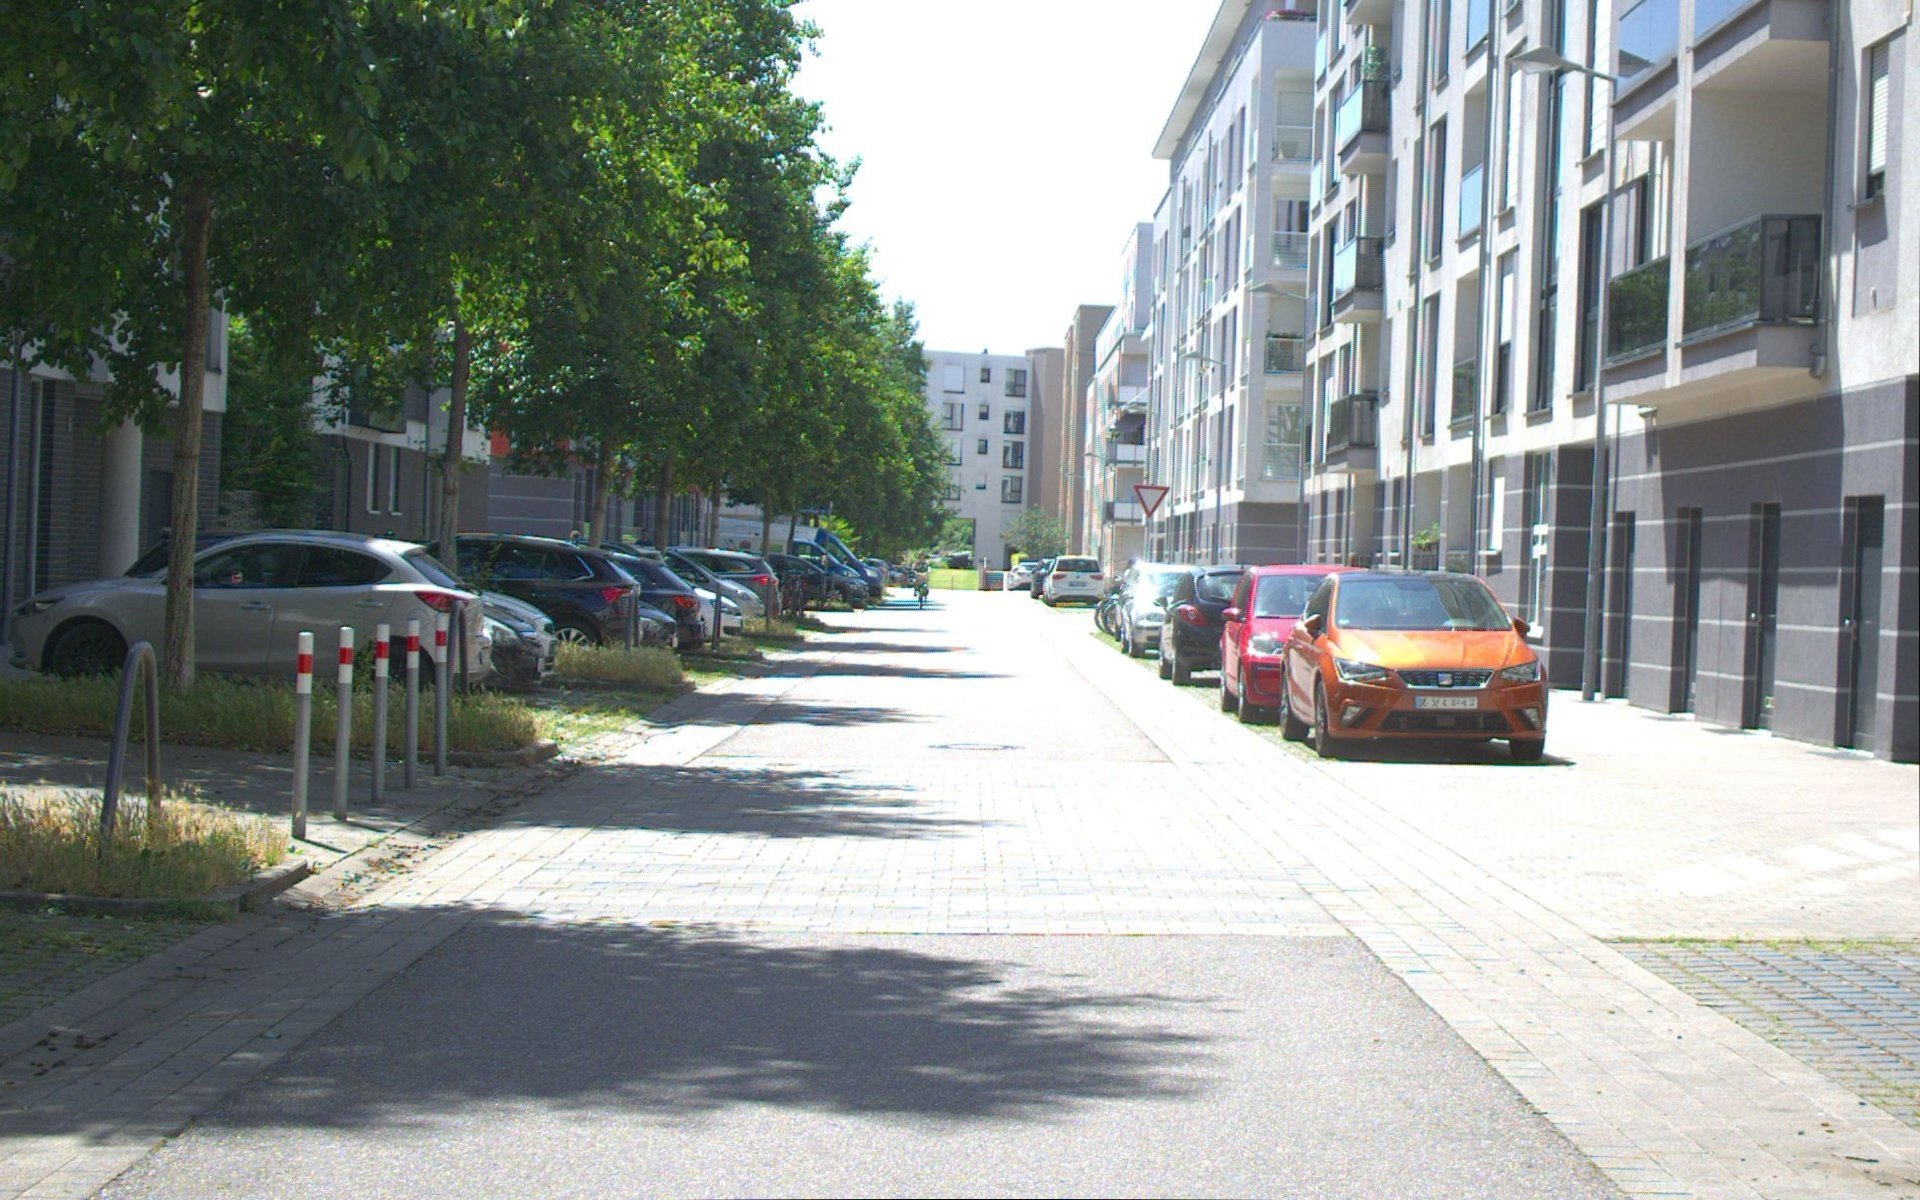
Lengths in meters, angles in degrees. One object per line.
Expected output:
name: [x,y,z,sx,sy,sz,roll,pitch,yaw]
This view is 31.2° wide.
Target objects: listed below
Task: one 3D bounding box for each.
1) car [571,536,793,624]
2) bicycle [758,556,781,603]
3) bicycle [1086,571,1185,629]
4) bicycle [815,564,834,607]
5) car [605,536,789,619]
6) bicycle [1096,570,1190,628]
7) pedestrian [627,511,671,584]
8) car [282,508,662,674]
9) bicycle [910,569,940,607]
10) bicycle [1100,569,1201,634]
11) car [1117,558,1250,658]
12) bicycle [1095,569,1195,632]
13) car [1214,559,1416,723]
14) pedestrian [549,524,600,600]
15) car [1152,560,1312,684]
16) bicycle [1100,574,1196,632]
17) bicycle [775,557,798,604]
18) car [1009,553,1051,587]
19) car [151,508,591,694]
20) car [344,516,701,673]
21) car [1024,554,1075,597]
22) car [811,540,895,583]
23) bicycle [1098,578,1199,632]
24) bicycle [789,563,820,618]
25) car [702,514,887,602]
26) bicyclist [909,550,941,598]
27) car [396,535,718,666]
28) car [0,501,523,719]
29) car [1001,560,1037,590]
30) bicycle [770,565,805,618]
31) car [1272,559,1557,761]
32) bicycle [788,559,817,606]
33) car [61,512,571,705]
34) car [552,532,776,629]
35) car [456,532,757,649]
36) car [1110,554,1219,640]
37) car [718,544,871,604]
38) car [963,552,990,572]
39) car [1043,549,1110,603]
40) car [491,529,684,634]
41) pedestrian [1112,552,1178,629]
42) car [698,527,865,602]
car: [-5.391,-0.372,67.043,4.180,1.481,1.959,3,-1,-3]
bicycle: [-5.157,-0.552,93.223,0.518,1.200,1.752,3,2,-2]
bicycle: [3.544,0.003,69.438,1.924,1.129,0.609,1,0,10]
bicycle: [-3.671,-0.407,93.168,0.466,1.138,1.926,2,1,-2]
car: [-5.477,-0.475,71.962,3.630,1.515,1.832,3,1,0]
bicycle: [3.677,-0.016,69.070,1.833,1.144,0.461,1,1,-18]
pedestrian: [-8.692,-1.471,96.178,1.009,2.007,1.129,1,1,3]
car: [-5.539,-0.113,39.380,3.987,1.624,1.933,3,1,0]
bicycle: [-1.085,-0.386,106.543,0.898,1.125,2.040,2,1,0]
bicycle: [3.677,0.030,66.384,1.869,1.213,0.715,1,0,-3]
car: [3.495,0.090,54.420,1.834,1.499,4.350,0,1,0]
bicycle: [3.688,0.008,68.487,1.923,1.213,0.461,1,0,-8]
car: [3.382,0.350,33.263,1.595,1.480,3.676,0,1,0]
pedestrian: [-8.715,-0.859,77.791,1.000,1.684,0.832,2,1,2]
car: [3.360,0.235,43.033,1.642,1.457,4.118,0,1,0]
bicycle: [3.668,0.054,67.131,1.786,1.100,0.747,1,1,-3]
bicycle: [-4.694,-0.522,92.965,0.434,1.200,1.700,3,2,1]
car: [3.616,-1.557,178.846,1.993,1.669,4.000,2,1,-1]
car: [-5.849,-0.009,34.474,3.987,1.586,1.884,3,1,1]
car: [-5.287,-0.074,41.904,3.987,1.645,1.918,3,1,2]
car: [3.406,-0.936,130.294,1.758,1.547,4.000,3,1,3]
car: [-5.424,-1.947,174.543,3.988,2.007,1.999,2,1,7]
bicycle: [3.719,0.092,67.825,1.923,1.031,0.559,1,0,-3]
bicycle: [-3.373,-0.211,74.460,0.371,1.176,1.821,1,1,-12]
car: [-5.544,-1.415,115.701,6.024,2.806,2.605,1,1,0]
bicyclist: [-1.073,-0.821,106.501,0.954,1.454,0.800,2,1,0]
car: [-5.174,-0.003,44.549,3.974,1.440,1.776,3,0,-3]
car: [-6.042,0.067,29.469,4.252,1.512,1.925,4,1,0]
car: [3.521,-1.497,206.079,1.993,1.711,4.000,2,1,-1]
bicycle: [-3.735,-0.193,74.436,0.433,1.124,1.979,1,1,-12]
car: [3.579,0.420,27.725,1.737,1.482,4.258,1,1,0]
bicycle: [-4.261,-0.477,92.954,0.570,1.170,1.769,5,2,-7]
car: [-5.912,0.064,31.914,4.316,1.471,1.793,4,1,0]
car: [-5.492,-0.369,64.147,3.937,1.548,1.872,3,1,0]
car: [-5.257,-0.157,51.565,4.360,1.704,2.000,0,1,-2]
car: [3.694,-0.074,62.736,1.739,1.480,4.229,1,1,0]
car: [-4.952,-0.783,103.082,4.383,1.509,2.075,4,1,0]
car: [1.252,-2.909,262.383,1.993,1.514,4.000,2,1,-1]
car: [3.714,-0.773,110.179,1.997,1.651,4.115,1,1,1]
car: [-6.147,-0.315,56.992,2.932,1.495,1.848,4,1,-1]
pedestrian: [3.694,-0.185,68.612,1.178,1.509,0.688,1,1,-9]
car: [-5.691,-1.145,110.273,5.145,2.112,2.311,3,1,0]
